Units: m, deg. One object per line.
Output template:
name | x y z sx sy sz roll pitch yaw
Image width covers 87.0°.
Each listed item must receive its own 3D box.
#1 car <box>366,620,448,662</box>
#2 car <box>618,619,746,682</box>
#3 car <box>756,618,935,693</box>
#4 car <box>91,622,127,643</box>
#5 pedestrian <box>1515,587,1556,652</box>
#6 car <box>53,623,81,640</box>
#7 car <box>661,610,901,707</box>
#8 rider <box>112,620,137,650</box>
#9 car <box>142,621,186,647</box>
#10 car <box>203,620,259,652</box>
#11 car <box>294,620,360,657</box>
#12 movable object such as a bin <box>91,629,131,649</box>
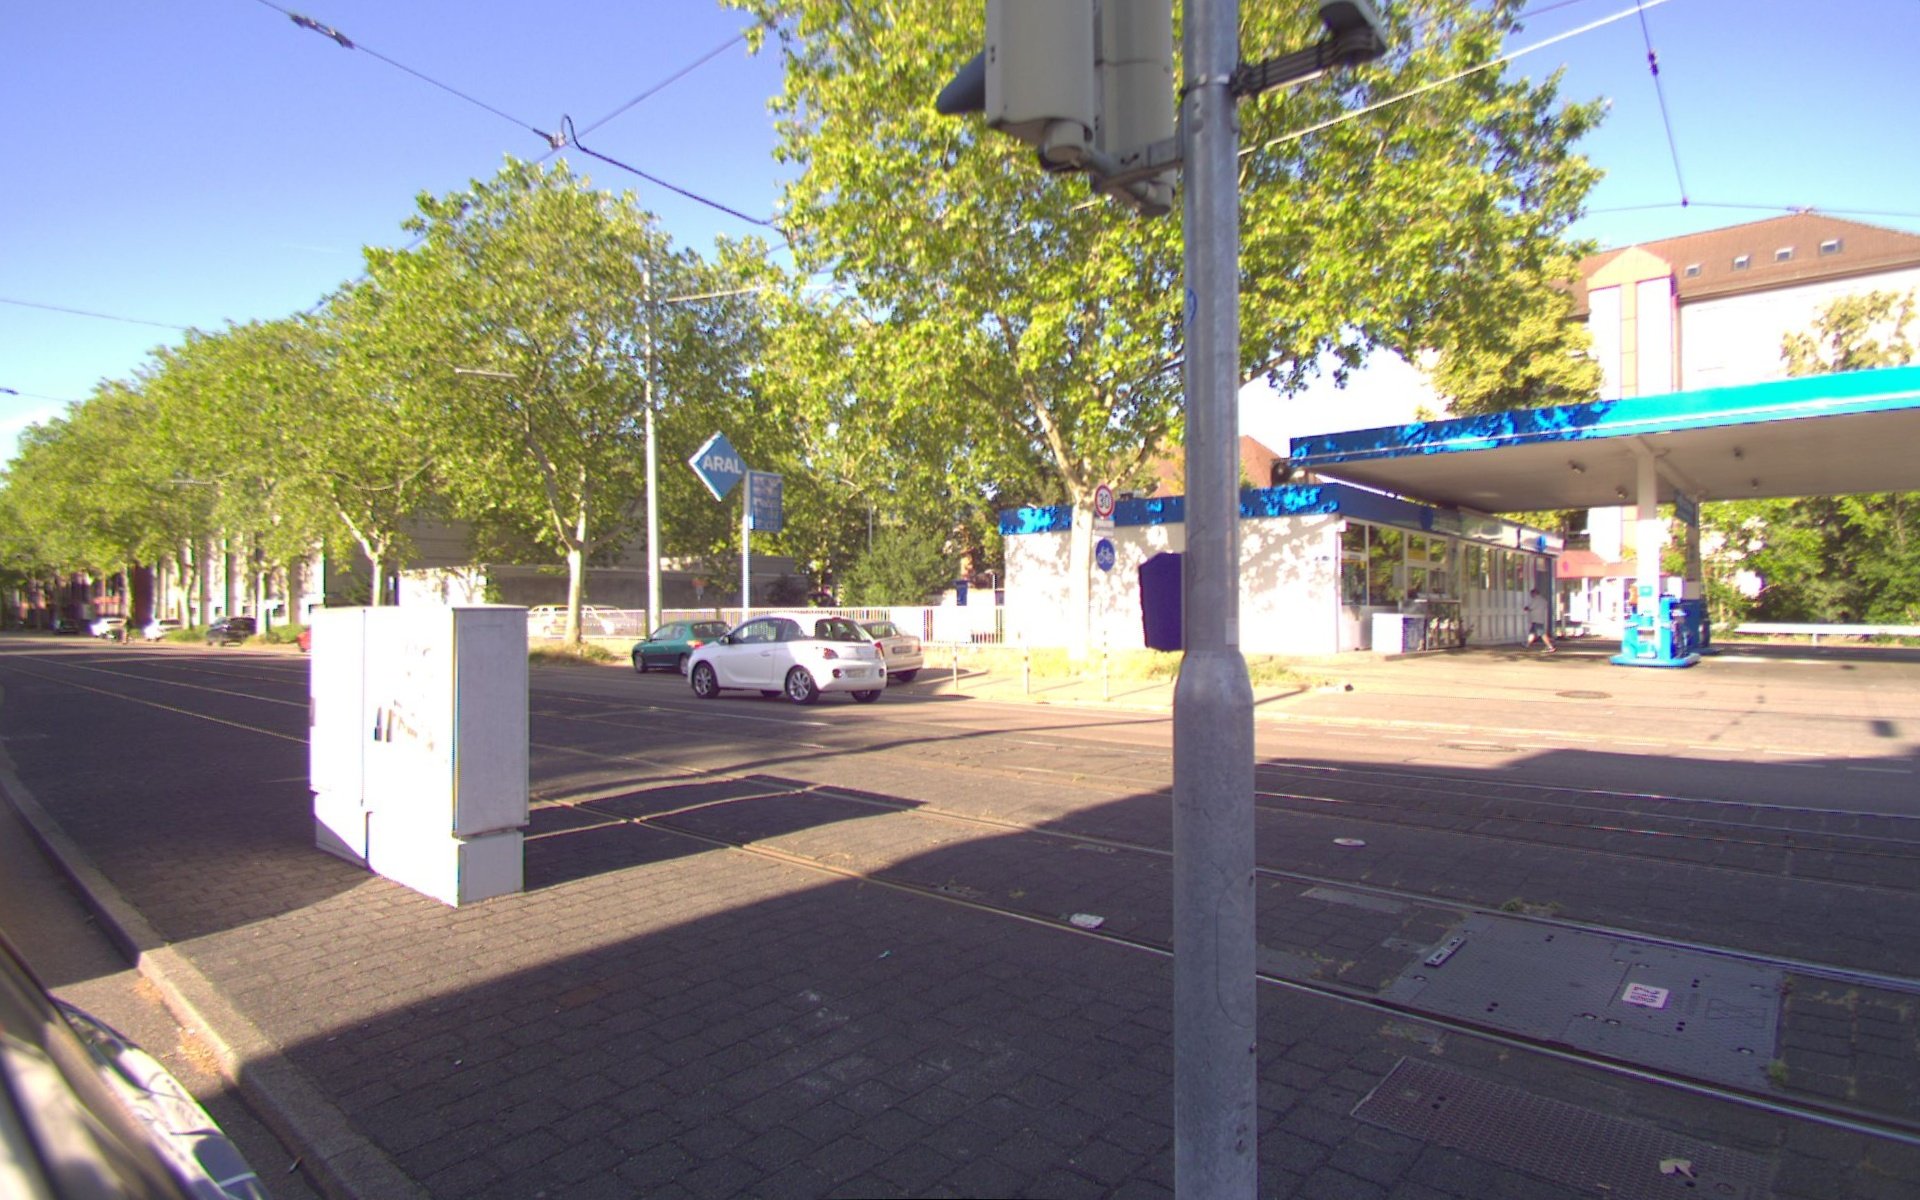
car | -21.851 1.565 39.921 3.769 1.455 1.701 -1 2 43
car | -7.447 1.296 26.960 3.606 1.455 1.598 -1 2 43
car | -2.618 1.185 22.594 3.987 1.376 1.666 -2 3 41
car | -66.776 2.499 79.409 3.731 1.471 1.639 -1 2 43
pedestrian | 15.394 0.529 27.070 0.847 1.715 0.640 -1 -3 40
car | -85.023 3.010 96.329 3.731 1.471 1.639 -1 2 43
car | -3.052 0.939 16.956 3.929 1.446 1.722 -1 -4 37
rider | -48.093 2.012 58.277 1.100 1.660 0.719 -1 0 26
car | -53.689 2.284 68.242 3.878 1.552 1.731 -1 2 43
car | -40.726 1.976 56.497 3.878 1.603 1.731 -1 2 43
car | -28.771 1.715 45.970 3.377 1.506 1.639 -1 2 43
movable object such as a bin | -49.313 2.264 58.793 1.825 1.111 1.168 -1 0 26
